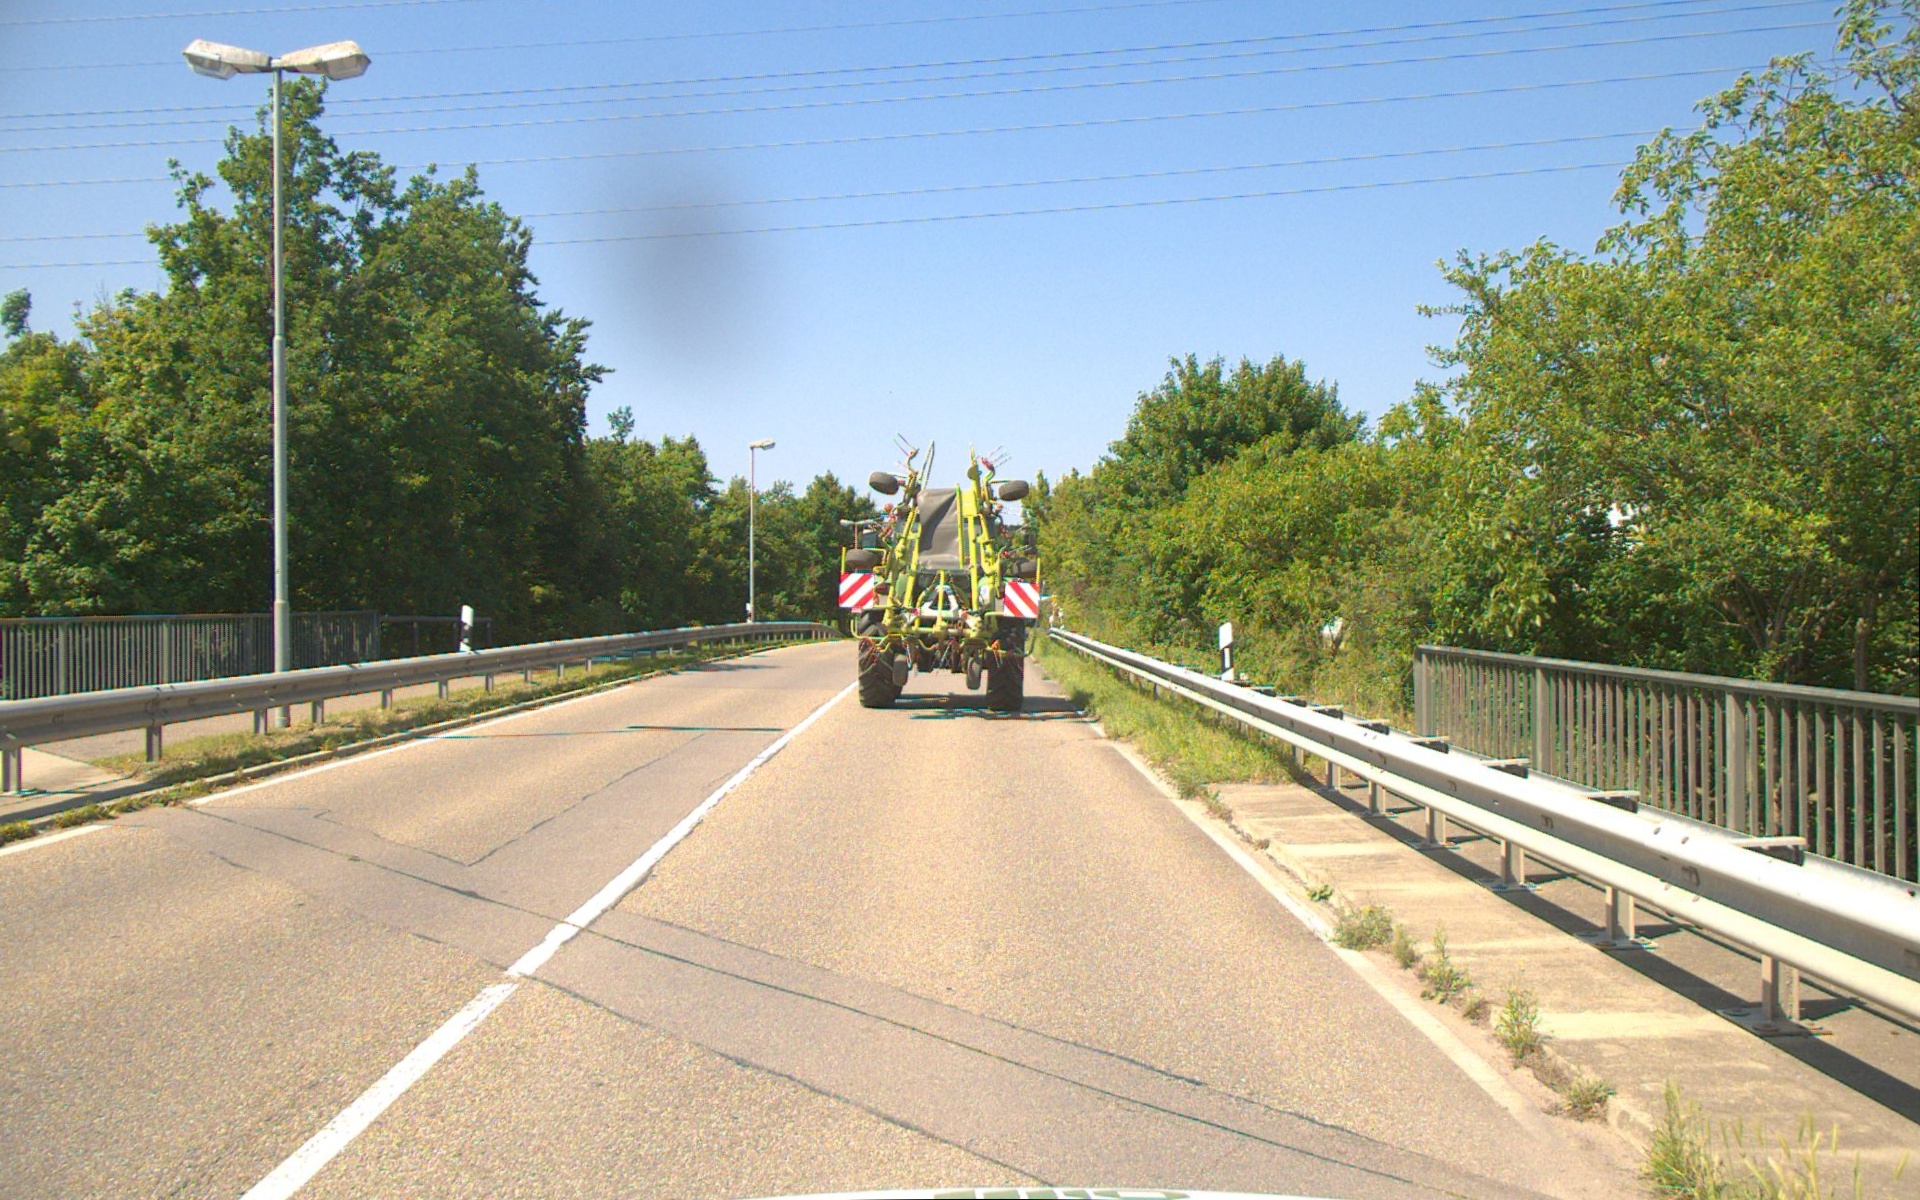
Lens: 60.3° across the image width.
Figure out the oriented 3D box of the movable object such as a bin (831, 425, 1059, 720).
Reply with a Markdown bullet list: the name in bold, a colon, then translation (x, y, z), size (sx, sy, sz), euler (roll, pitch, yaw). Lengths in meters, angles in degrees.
- **movable object such as a bin**: translation (-0.172, -0.356, 22.694), size (2.698, 3.504, 5.670), euler (1, 0, 0)
